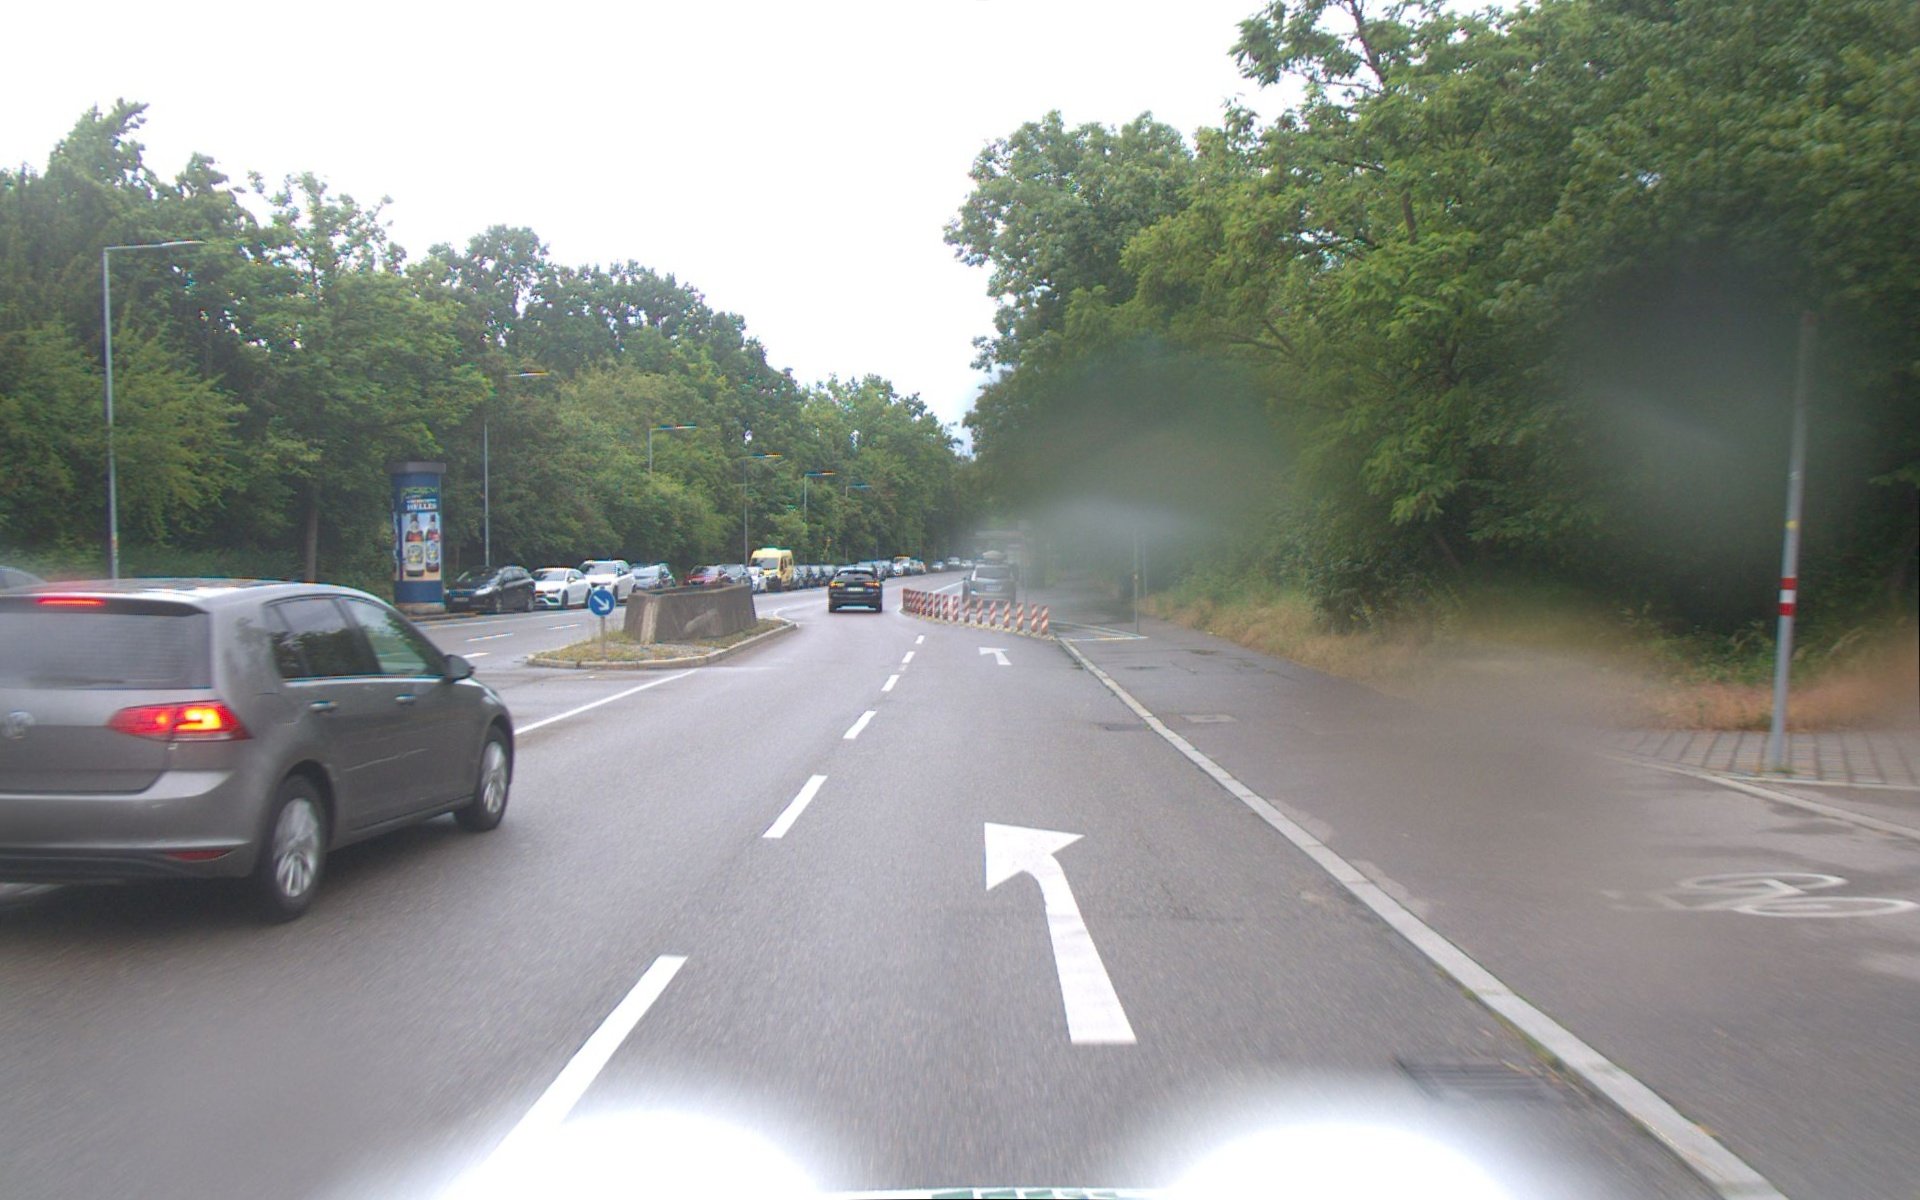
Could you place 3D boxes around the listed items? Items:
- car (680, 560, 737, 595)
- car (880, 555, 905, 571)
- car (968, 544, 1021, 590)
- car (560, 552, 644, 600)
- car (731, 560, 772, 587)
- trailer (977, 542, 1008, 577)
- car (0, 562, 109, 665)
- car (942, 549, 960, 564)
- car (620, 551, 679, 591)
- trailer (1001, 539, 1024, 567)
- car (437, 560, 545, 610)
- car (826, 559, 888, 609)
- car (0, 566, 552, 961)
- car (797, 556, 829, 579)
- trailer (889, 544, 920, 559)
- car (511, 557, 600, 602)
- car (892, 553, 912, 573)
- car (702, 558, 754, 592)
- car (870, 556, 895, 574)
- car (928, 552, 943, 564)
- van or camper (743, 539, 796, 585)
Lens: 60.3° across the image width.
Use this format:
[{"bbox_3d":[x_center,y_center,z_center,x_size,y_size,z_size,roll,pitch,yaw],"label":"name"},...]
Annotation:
[{"bbox_3d":[-12.621,-1.170,83.236,1.878,1.645,4.493,-1,1,4],"label":"car"},{"bbox_3d":[-6.684,-3.652,163.173,1.951,1.514,4.471,0,2,4],"label":"car"},{"bbox_3d":[1.215,-1.216,60.577,1.785,1.643,4.251,0,1,-1],"label":"car"},{"bbox_3d":[-13.812,-0.952,64.080,1.952,1.796,4.963,0,1,3],"label":"car"},{"bbox_3d":[-11.851,-1.529,94.008,1.583,1.474,3.659,-1,2,4],"label":"car"},{"bbox_3d":[2.187,-2.682,109.340,1.866,2.286,4.771,0,2,3],"label":"trailer"},{"bbox_3d":[-14.285,0.168,23.372,1.866,1.439,4.785,1,1,3],"label":"car"},{"bbox_3d":[-1.310,-6.439,244.743,2.113,2.048,5.034,0,2,5],"label":"car"},{"bbox_3d":[-13.423,-1.275,71.712,1.695,1.677,4.572,0,1,0],"label":"car"},{"bbox_3d":[4.925,-4.426,155.828,2.088,2.604,4.299,0,2,1],"label":"trailer"},{"bbox_3d":[-14.756,-0.505,52.314,1.712,1.470,4.590,0,2,6],"label":"car"},{"bbox_3d":[-3.413,-0.560,54.189,1.844,1.491,3.996,1,2,-6],"label":"car"},{"bbox_3d":[-3.593,0.591,8.382,1.832,1.466,4.297,1,0,2],"label":"car"},{"bbox_3d":[-10.348,-2.295,116.569,1.569,1.536,3.980,0,2,5],"label":"car"},{"bbox_3d":[-6.022,-5.284,179.705,1.597,1.657,3.661,0,2,34],"label":"trailer"},{"bbox_3d":[-14.185,-0.751,58.248,1.682,1.485,4.711,0,2,4],"label":"car"},{"bbox_3d":[-6.110,-3.900,174.915,1.900,2.048,4.741,0,2,1],"label":"car"},{"bbox_3d":[-12.427,-1.357,88.746,1.952,1.729,4.617,0,2,2],"label":"car"},{"bbox_3d":[-7.262,-3.279,154.654,1.840,1.588,4.471,0,2,4],"label":"car"},{"bbox_3d":[-3.233,-5.553,219.629,1.637,1.540,3.632,0,2,3],"label":"car"},{"bbox_3d":[-11.515,-2.318,100.278,2.098,2.673,5.686,-1,2,4],"label":"van or camper"}]
